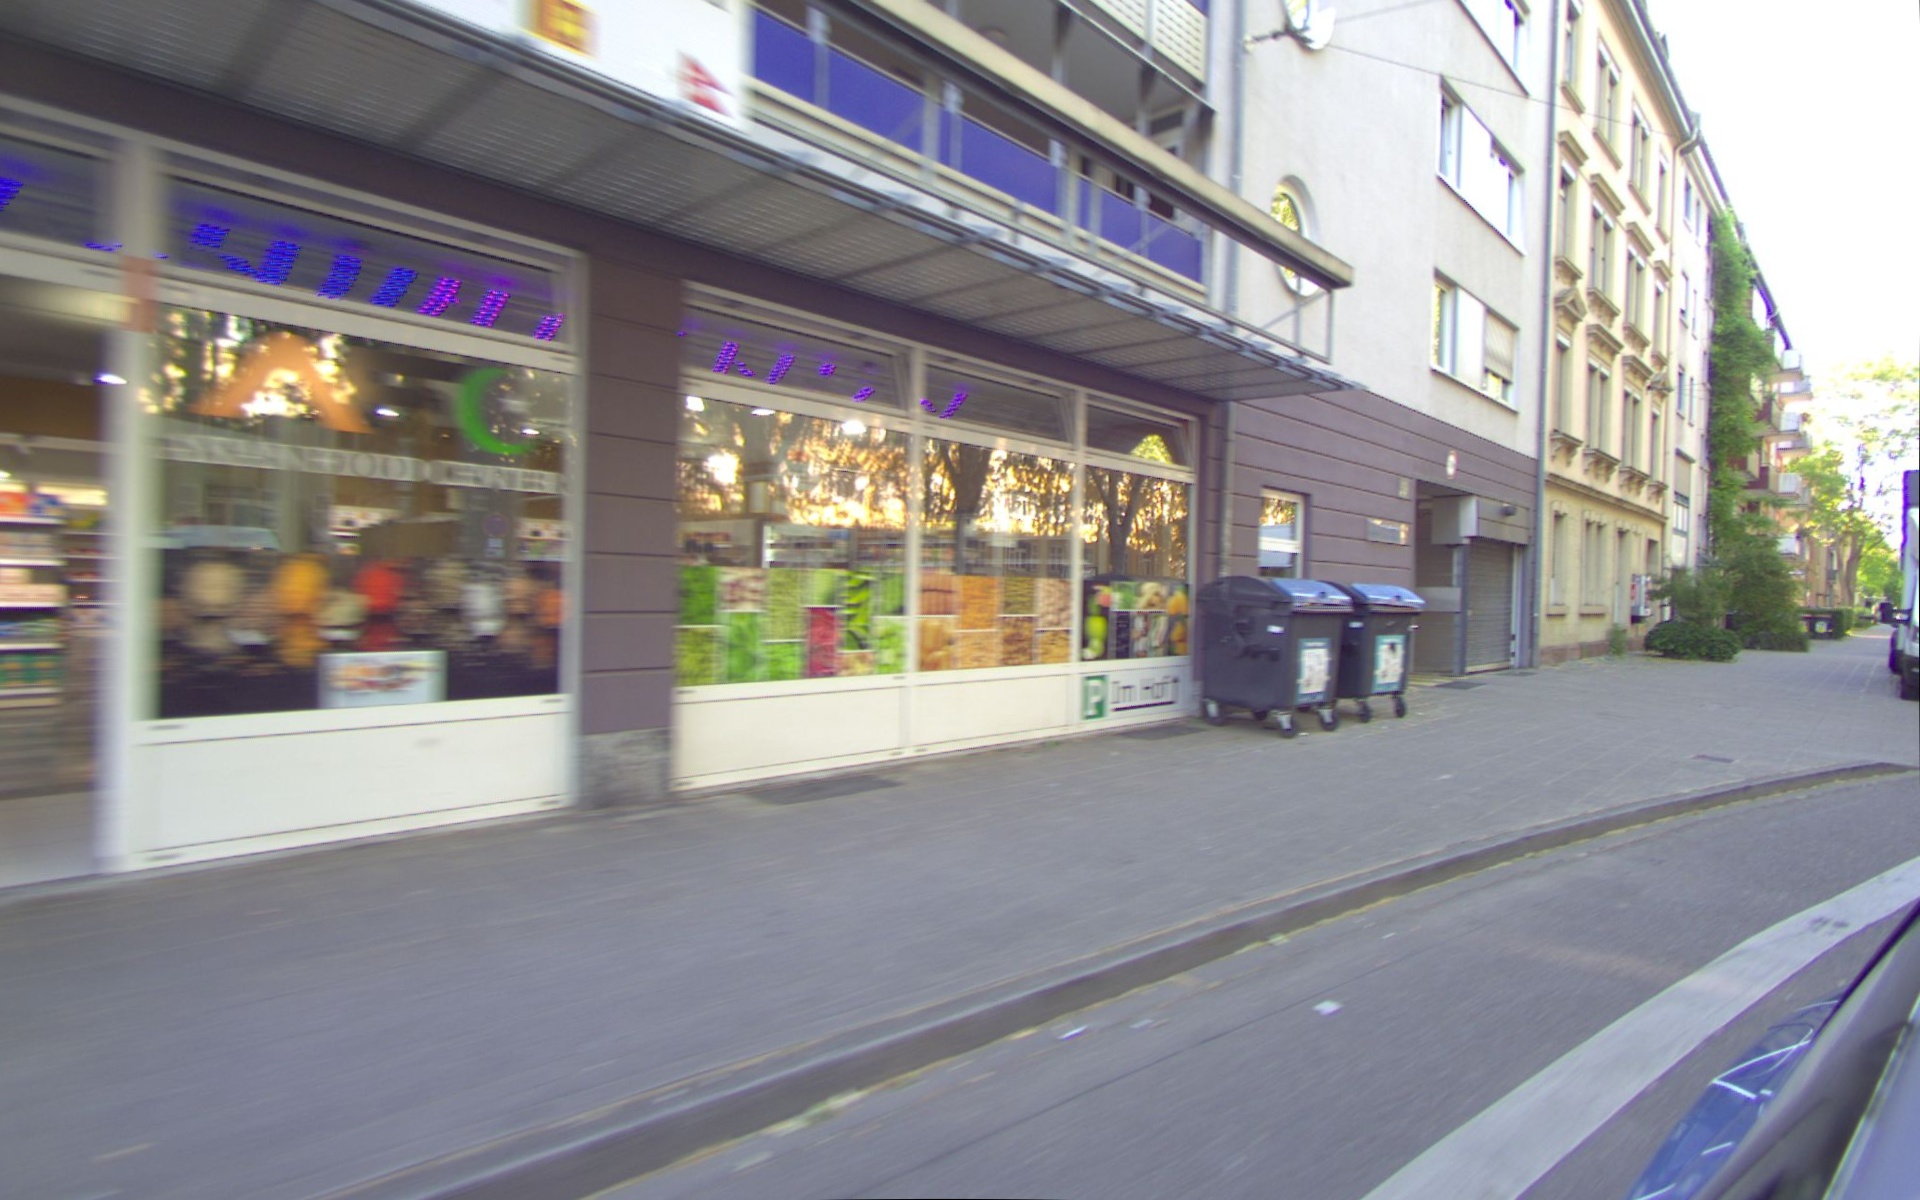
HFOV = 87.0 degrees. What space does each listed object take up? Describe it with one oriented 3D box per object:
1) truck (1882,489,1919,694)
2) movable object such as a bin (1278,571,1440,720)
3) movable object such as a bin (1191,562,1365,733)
[{"bbox_3d":[18.062,-0.091,17.698,2.377,3.222,8.403,7,4,41],"label":"truck"},{"bbox_3d":[4.313,0.442,10.940,1.283,1.464,1.122,1,2,-40],"label":"movable object such as a bin"},{"bbox_3d":[3.017,0.398,9.597,1.275,1.464,1.067,1,2,-44],"label":"movable object such as a bin"}]
